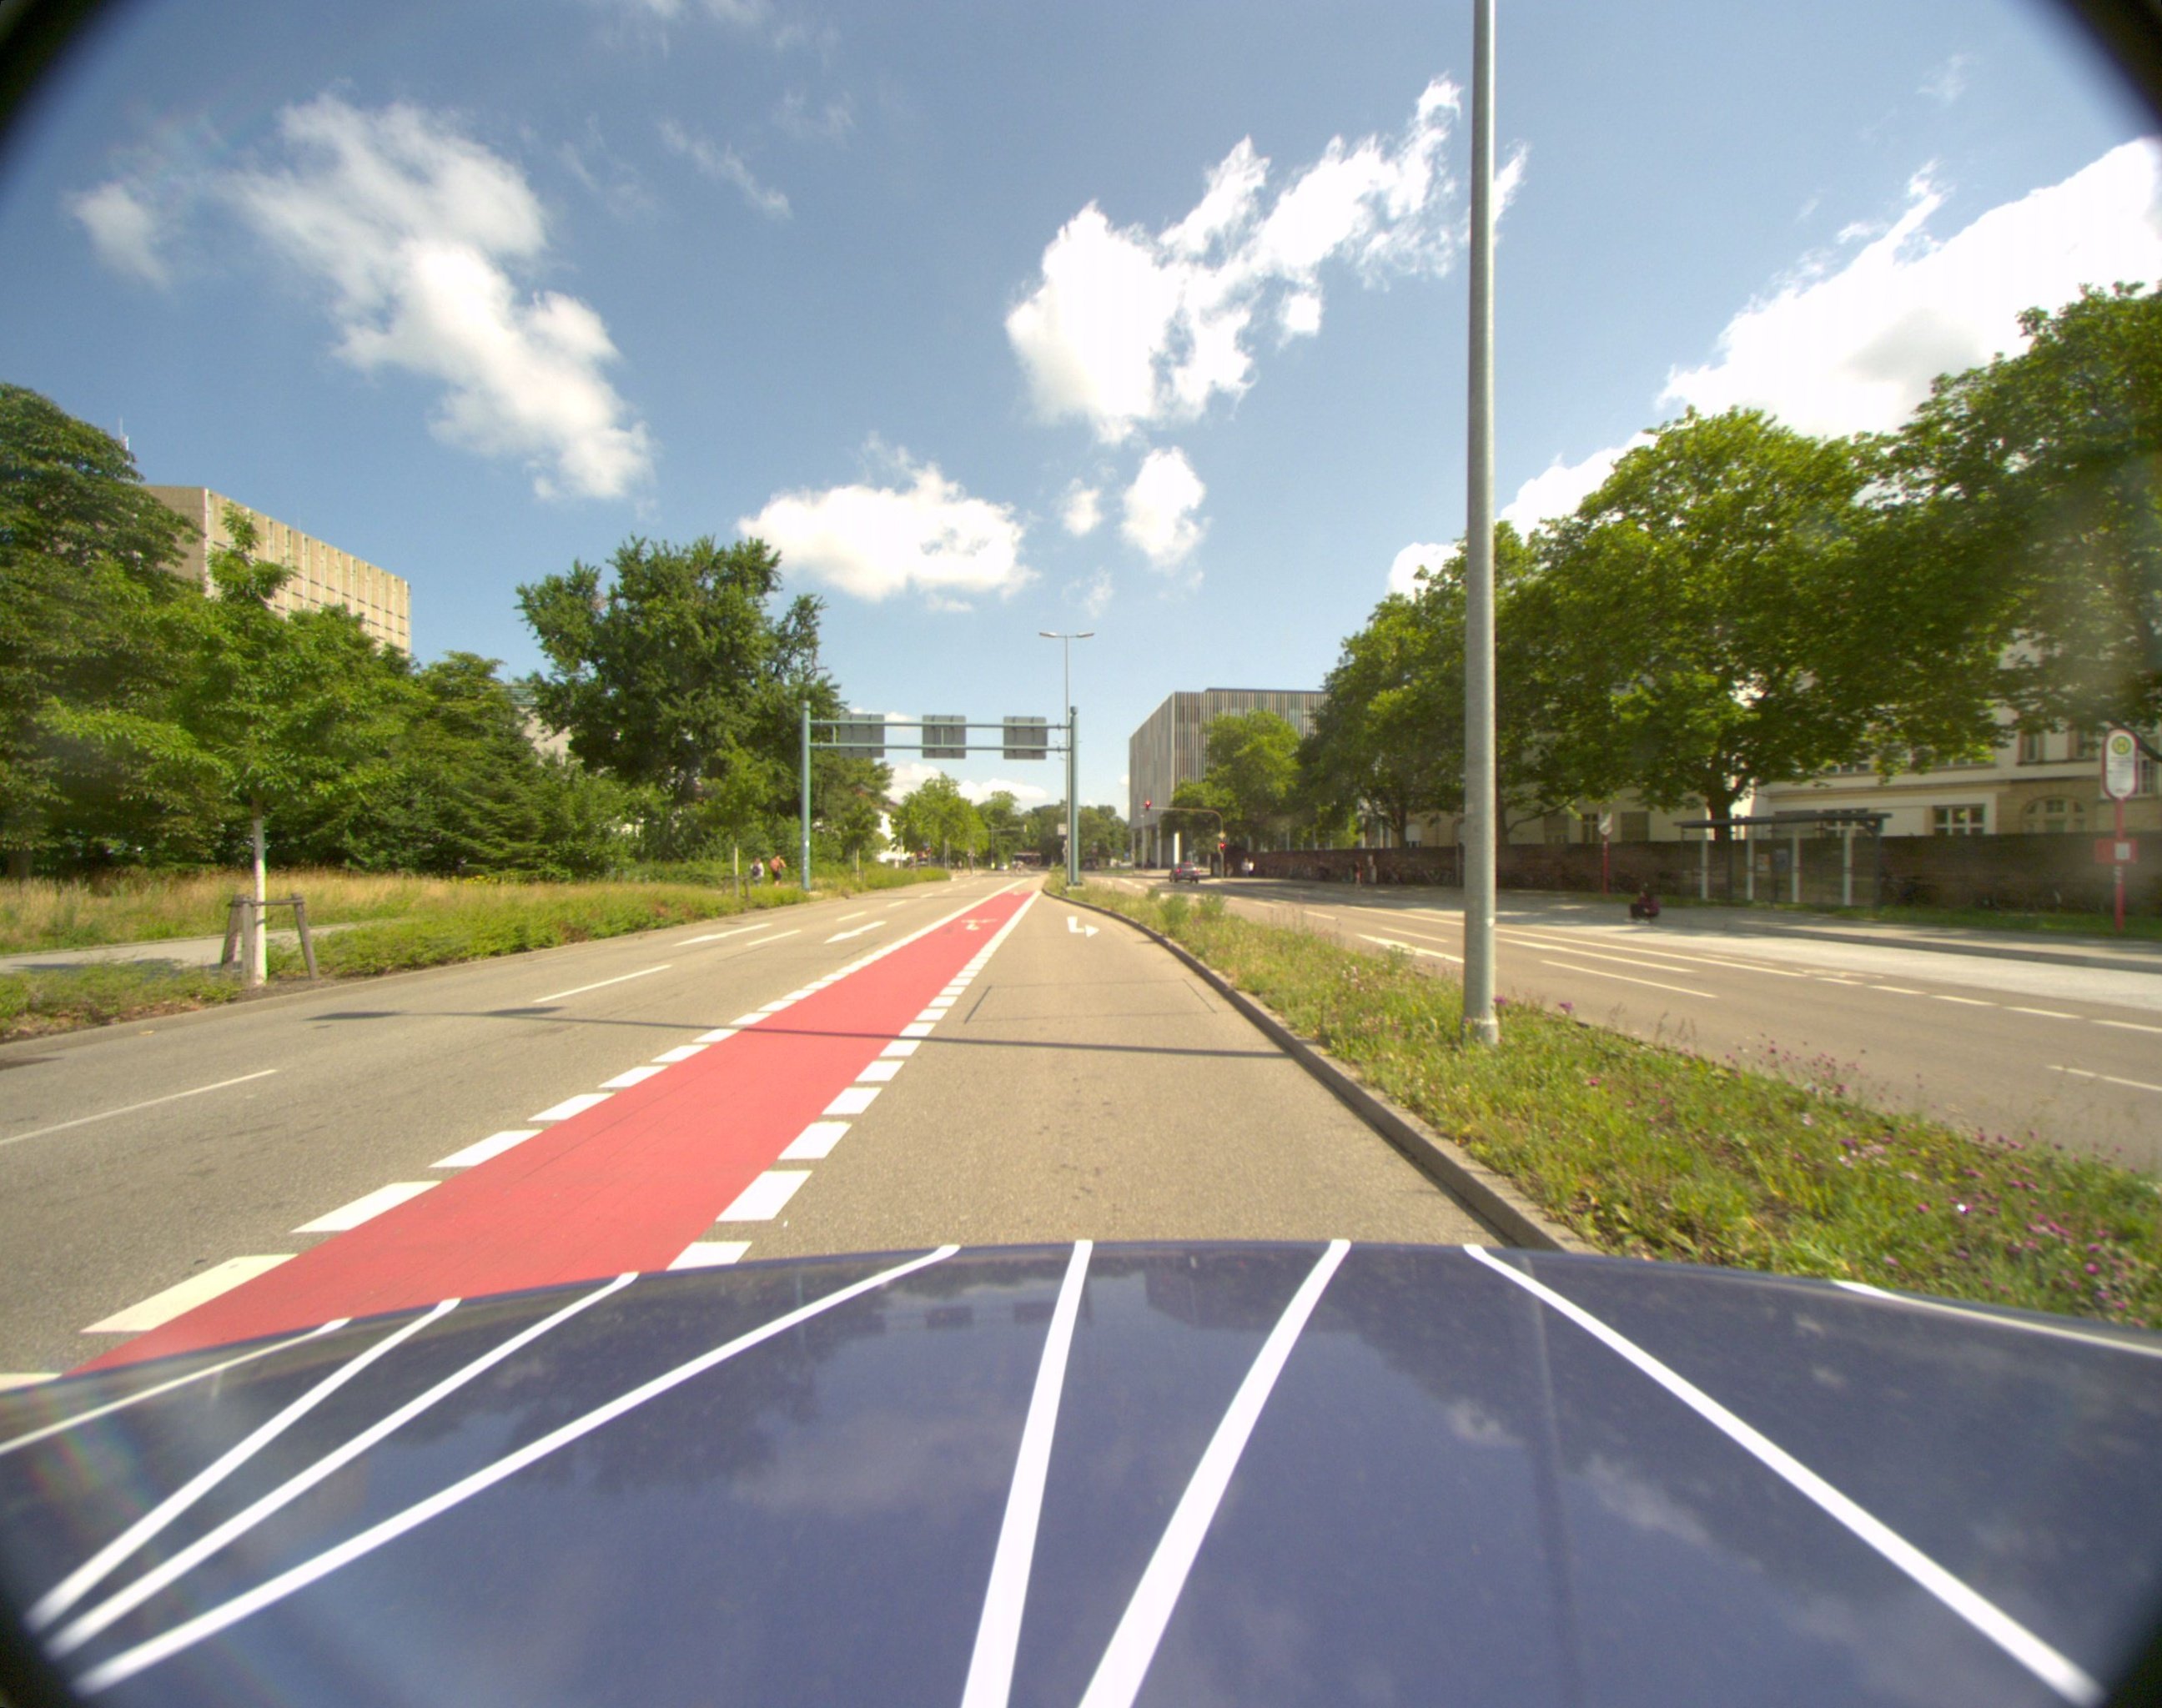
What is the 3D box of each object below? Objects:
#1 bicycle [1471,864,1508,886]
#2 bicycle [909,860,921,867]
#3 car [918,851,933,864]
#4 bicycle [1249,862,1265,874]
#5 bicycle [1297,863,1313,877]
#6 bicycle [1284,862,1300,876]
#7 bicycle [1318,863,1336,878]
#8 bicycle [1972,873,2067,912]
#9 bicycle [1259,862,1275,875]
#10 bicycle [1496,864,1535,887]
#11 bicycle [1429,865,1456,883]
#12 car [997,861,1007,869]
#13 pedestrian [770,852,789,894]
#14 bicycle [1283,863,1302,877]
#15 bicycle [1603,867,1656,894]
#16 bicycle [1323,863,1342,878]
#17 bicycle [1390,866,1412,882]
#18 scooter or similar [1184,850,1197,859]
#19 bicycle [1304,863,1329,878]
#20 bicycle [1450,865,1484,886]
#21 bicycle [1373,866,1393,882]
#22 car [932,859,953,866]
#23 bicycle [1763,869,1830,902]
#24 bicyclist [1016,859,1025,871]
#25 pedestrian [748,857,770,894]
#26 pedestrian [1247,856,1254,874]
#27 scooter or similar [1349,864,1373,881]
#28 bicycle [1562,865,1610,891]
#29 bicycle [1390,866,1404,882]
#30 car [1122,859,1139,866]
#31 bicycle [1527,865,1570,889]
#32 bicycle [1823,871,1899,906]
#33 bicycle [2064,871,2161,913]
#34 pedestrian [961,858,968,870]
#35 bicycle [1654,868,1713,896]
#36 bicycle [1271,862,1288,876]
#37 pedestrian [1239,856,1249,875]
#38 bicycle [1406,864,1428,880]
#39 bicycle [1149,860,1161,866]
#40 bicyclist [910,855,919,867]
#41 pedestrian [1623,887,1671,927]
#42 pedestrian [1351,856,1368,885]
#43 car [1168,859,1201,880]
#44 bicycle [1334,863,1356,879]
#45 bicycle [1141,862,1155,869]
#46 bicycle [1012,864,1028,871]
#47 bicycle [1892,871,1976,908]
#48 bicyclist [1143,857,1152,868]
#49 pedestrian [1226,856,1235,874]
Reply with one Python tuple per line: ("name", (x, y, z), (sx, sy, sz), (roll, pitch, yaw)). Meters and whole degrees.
("bicycle", (20.727, 1.057, 38.580), (0.631, 1.070, 1.651), (-1, 0, -17))
("bicycle", (-19.747, 1.156, 90.453), (1.510, 0.828, 0.621), (0, 0, 38))
("car", (-25.290, 0.616, 123.527), (2.000, 2.002, 4.899), (0, 0, -8))
("bicycle", (15.213, 1.197, 65.735), (0.632, 1.042, 1.879), (0, 0, -11))
("bicycle", (16.801, 1.176, 57.083), (0.371, 1.042, 1.879), (0, 0, -11))
("bicycle", (16.464, 1.172, 59.285), (0.371, 1.042, 1.879), (0, 0, -11))
("bicycle", (17.205, 1.138, 53.185), (0.374, 1.042, 1.879), (0, 0, -11))
("bicycle", (26.995, 1.088, 21.880), (0.585, 1.067, 1.628), (0, 0, -23))
("bicycle", (15.523, 1.219, 63.487), (0.632, 1.042, 1.879), (0, 0, -11))
("bicycle", (21.231, 1.049, 37.159), (0.584, 1.067, 1.753), (0, 0, -17))
("bicycle", (19.986, 1.082, 42.070), (0.371, 0.949, 1.624), (0, 0, -17))
("car", (-14.445, 2.052, 138.907), (1.709, 1.321, 3.998), (2, -1, -7))
("pedestrian", (-12.878, 0.814, 32.452), (0.568, 1.791, 0.639), (0, 0, -1))
("bicycle", (16.105, 1.181, 57.831), (0.594, 1.042, 1.879), (0, 0, -11))
("bicycle", (22.898, 1.088, 31.750), (0.585, 1.067, 1.752), (0, 0, -23))
("bicycle", (17.606, 1.140, 53.249), (0.395, 1.042, 1.879), (0, 0, -11))
("bicycle", (19.170, 1.205, 45.548), (0.368, 0.949, 1.400), (0, 0, -17))
("scooter or similar", (13.327, 0.079, 92.450), (1.505, 1.150, 0.502), (0, 0, -29))
("bicycle", (17.068, 1.161, 55.180), (0.594, 1.042, 1.877), (0, 0, -26))
("bicycle", (20.422, 1.134, 40.233), (0.584, 1.067, 1.753), (0, 0, -17))
("bicycle", (18.731, 1.246, 47.100), (0.368, 0.949, 1.400), (0, 0, -17))
("car", (-26.768, 1.631, 147.014), (4.001, 1.416, 1.756), (0, 0, -12))
("bicycle", (24.975, 1.084, 26.551), (0.585, 1.067, 1.628), (0, 0, -23))
("bicyclist", (-6.850, 1.258, 86.205), (0.932, 1.341, 0.444), (-1, 0, -14))
("pedestrian", (-13.682, 0.903, 32.333), (0.624, 1.571, 0.708), (0, 0, -1))
("pedestrian", (14.533, 0.967, 65.122), (0.477, 1.531, 0.616), (0, 0, -7))
("scooter or similar", (18.199, 1.181, 49.456), (0.582, 1.042, 1.879), (0, 0, -11))
("bicycle", (22.321, 1.046, 33.631), (0.585, 1.067, 1.752), (0, 0, -23))
("bicycle", (18.683, 1.180, 44.895), (0.367, 0.949, 1.626), (0, 0, 8))
("car", (12.155, 2.098, 185.901), (3.998, 1.676, 1.646), (0, 0, -2))
("bicycle", (21.744, 1.077, 35.382), (0.584, 1.067, 1.753), (0, 0, -18))
("bicycle", (25.623, 1.121, 24.993), (0.585, 1.067, 1.628), (0, 0, -23))
("bicycle", (27.746, 0.993, 20.209), (0.584, 1.067, 1.867), (0, 0, -18))
("pedestrian", (-15.392, 1.314, 100.505), (0.741, 1.640, 0.640), (0, 0, 7))
("bicycle", (23.680, 1.089, 29.899), (0.585, 1.067, 1.752), (0, 0, -23))
("bicycle", (16.013, 1.209, 61.388), (0.566, 1.042, 1.879), (0, 0, -11))
("pedestrian", (13.845, 0.998, 64.629), (0.643, 1.641, 0.731), (0, 0, -7))
("bicycle", (19.530, 1.043, 44.178), (0.368, 0.949, 1.400), (0, 0, -17))
("bicycle", (13.706, 1.593, 140.576), (2.218, 1.090, 0.722), (0, 0, -9))
("bicyclist", (-19.784, 0.819, 90.484), (0.916, 1.498, 0.614), (0, 0, 38))
("pedestrian", (14.616, 1.362, 19.632), (0.696, 0.957, 0.743), (-1, 0, -3))
("pedestrian", (15.625, 0.946, 42.665), (0.658, 1.600, 0.744), (-1, 0, 0))
("car", (7.596, 1.144, 56.095), (1.705, 1.436, 4.145), (1, 0, -2))
("bicycle", (17.839, 1.150, 51.365), (0.582, 1.042, 1.879), (0, 0, -11))
("bicycle", (8.760, 1.512, 99.246), (1.771, 0.887, 0.639), (0, 0, 30))
("bicycle", (-6.953, 1.544, 86.182), (1.757, 0.771, 0.444), (-1, 0, -14))
("bicycle", (26.277, 1.086, 23.428), (0.585, 1.067, 1.628), (0, 0, -23))
("bicyclist", (8.699, 1.141, 99.278), (0.944, 1.456, 0.633), (0, 0, 30))
("pedestrian", (13.461, 1.011, 68.538), (0.562, 1.641, 0.726), (0, 0, -7))
